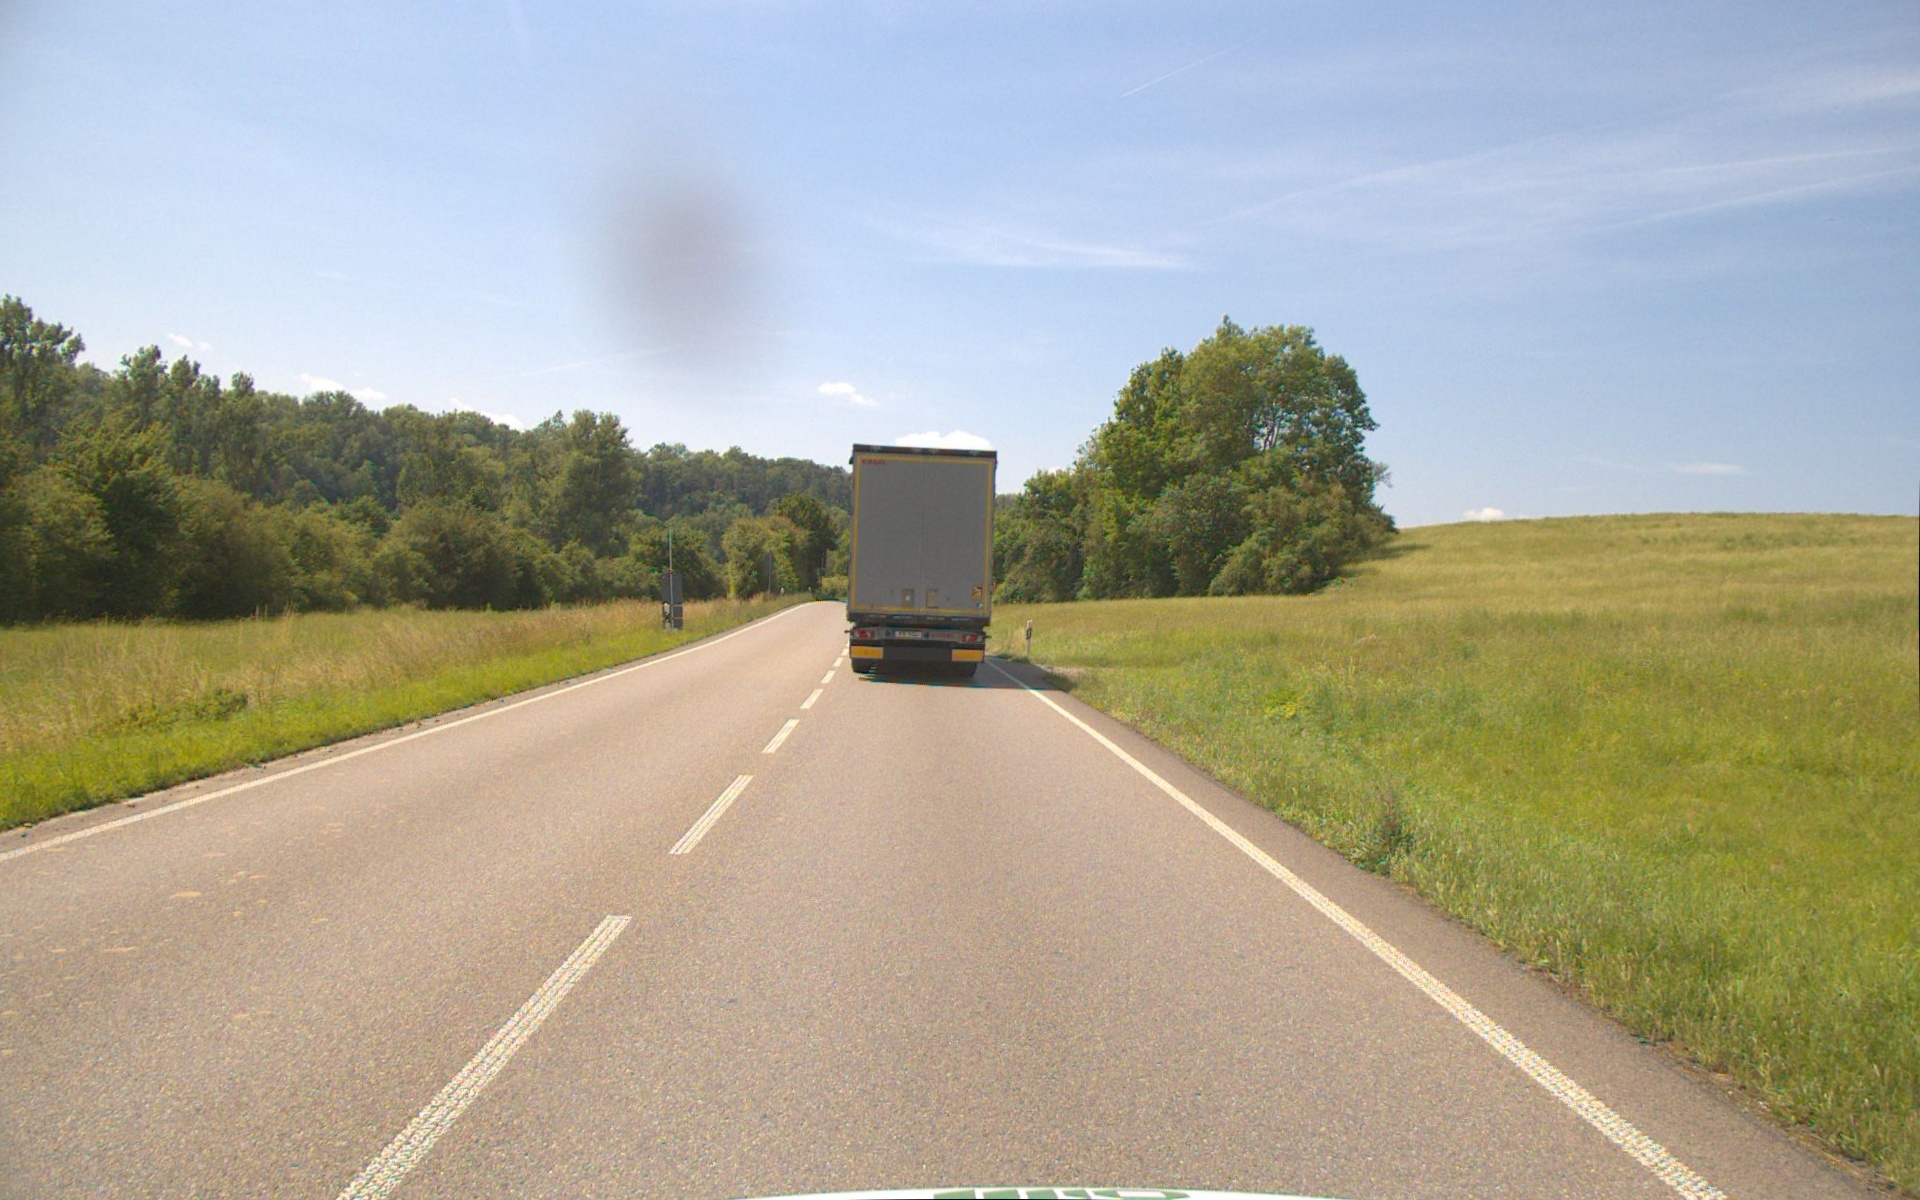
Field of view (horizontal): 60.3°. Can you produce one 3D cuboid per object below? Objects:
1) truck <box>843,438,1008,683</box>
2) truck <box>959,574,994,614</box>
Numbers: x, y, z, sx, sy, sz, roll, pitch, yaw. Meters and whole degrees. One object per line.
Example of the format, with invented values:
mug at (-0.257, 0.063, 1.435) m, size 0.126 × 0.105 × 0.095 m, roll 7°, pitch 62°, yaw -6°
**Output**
truck at (-1.002, -0.660, 35.979) m, size 2.746 × 4.140 × 15.315 m, roll 1°, pitch 0°, yaw -3°
truck at (2.030, -0.629, 196.180) m, size 3.234 × 4.463 × 13.418 m, roll 1°, pitch 0°, yaw 5°
